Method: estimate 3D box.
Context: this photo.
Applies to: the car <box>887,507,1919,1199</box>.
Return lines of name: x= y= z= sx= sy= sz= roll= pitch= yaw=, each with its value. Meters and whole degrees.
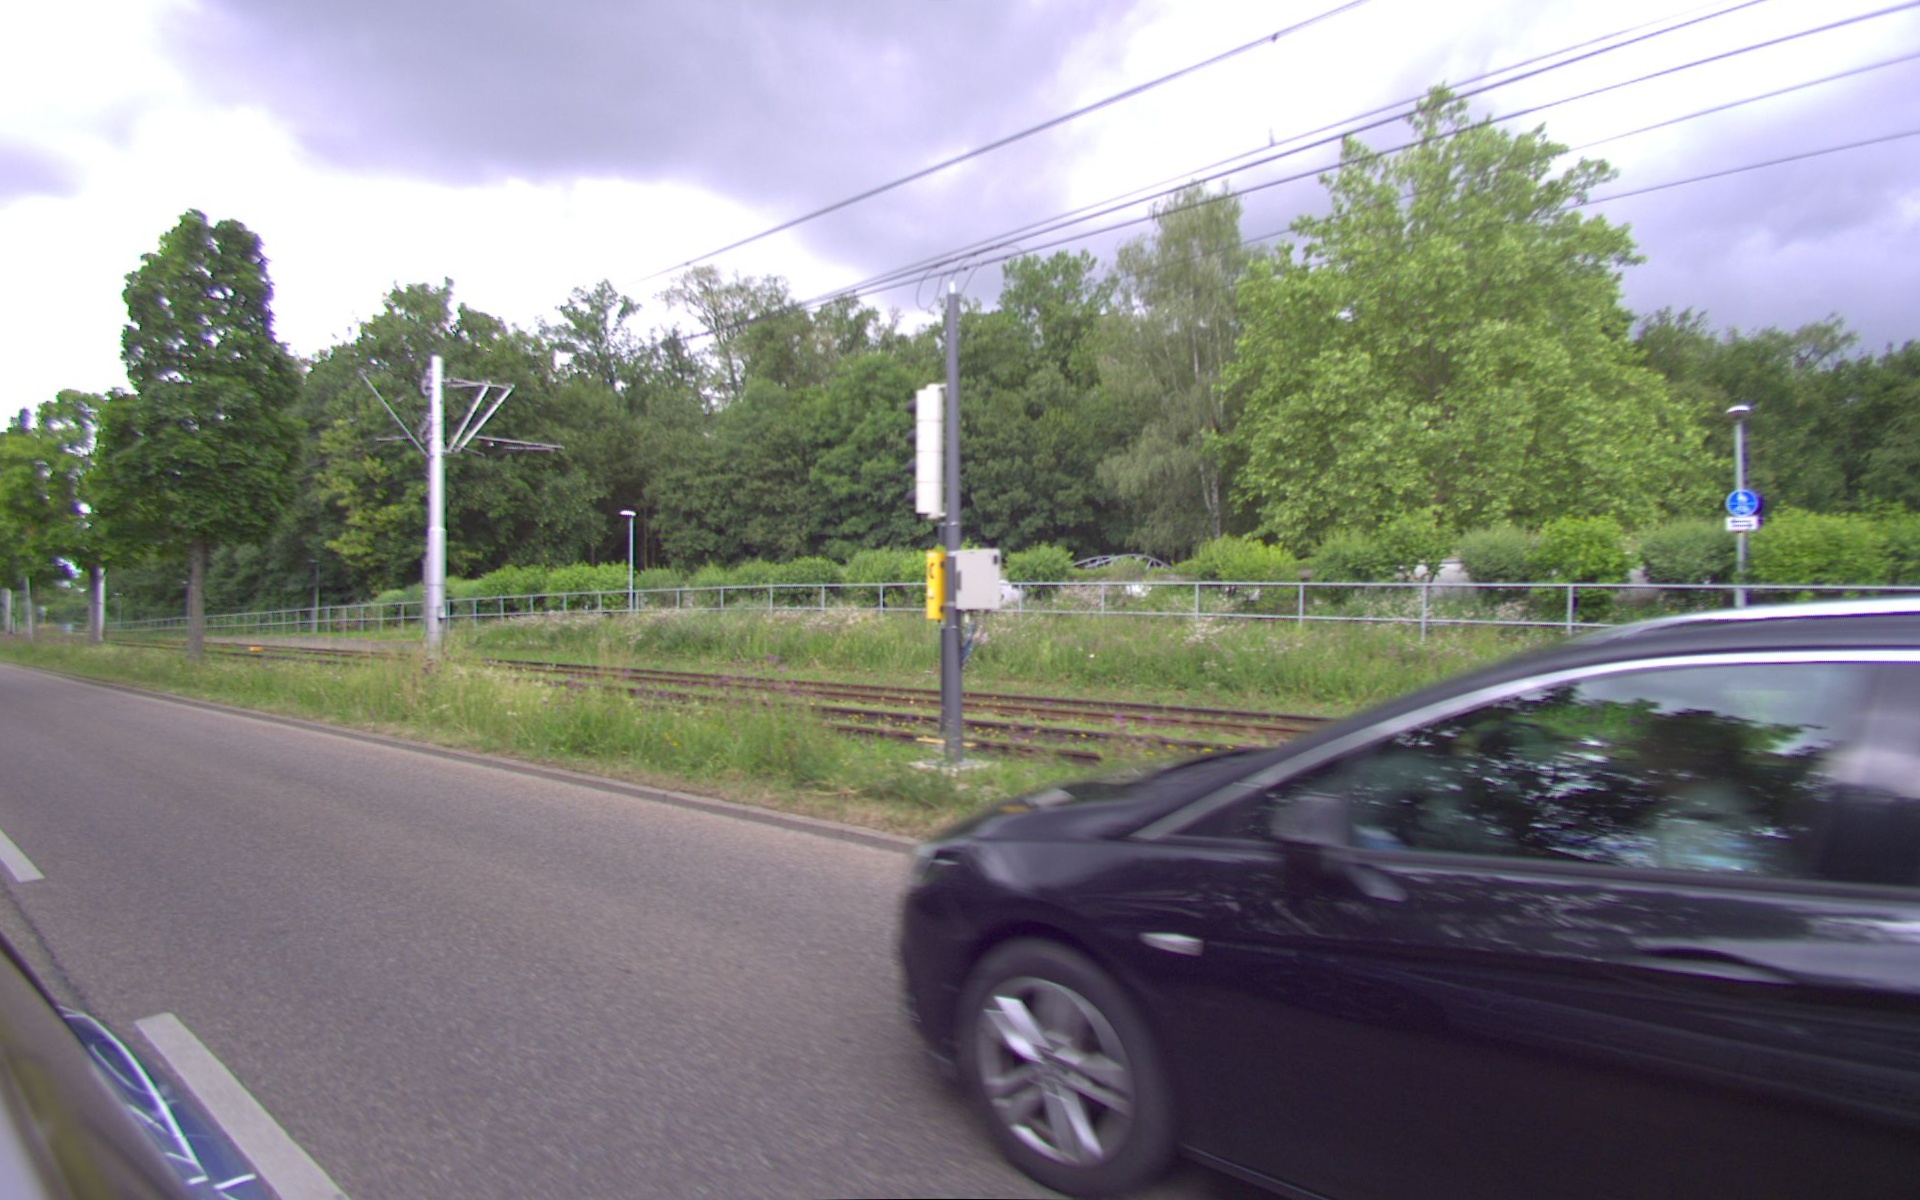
car: x=2.002 y=0.608 z=2.061 sx=4.254 sy=1.481 sz=1.831 roll=-2 pitch=-1 yaw=41
